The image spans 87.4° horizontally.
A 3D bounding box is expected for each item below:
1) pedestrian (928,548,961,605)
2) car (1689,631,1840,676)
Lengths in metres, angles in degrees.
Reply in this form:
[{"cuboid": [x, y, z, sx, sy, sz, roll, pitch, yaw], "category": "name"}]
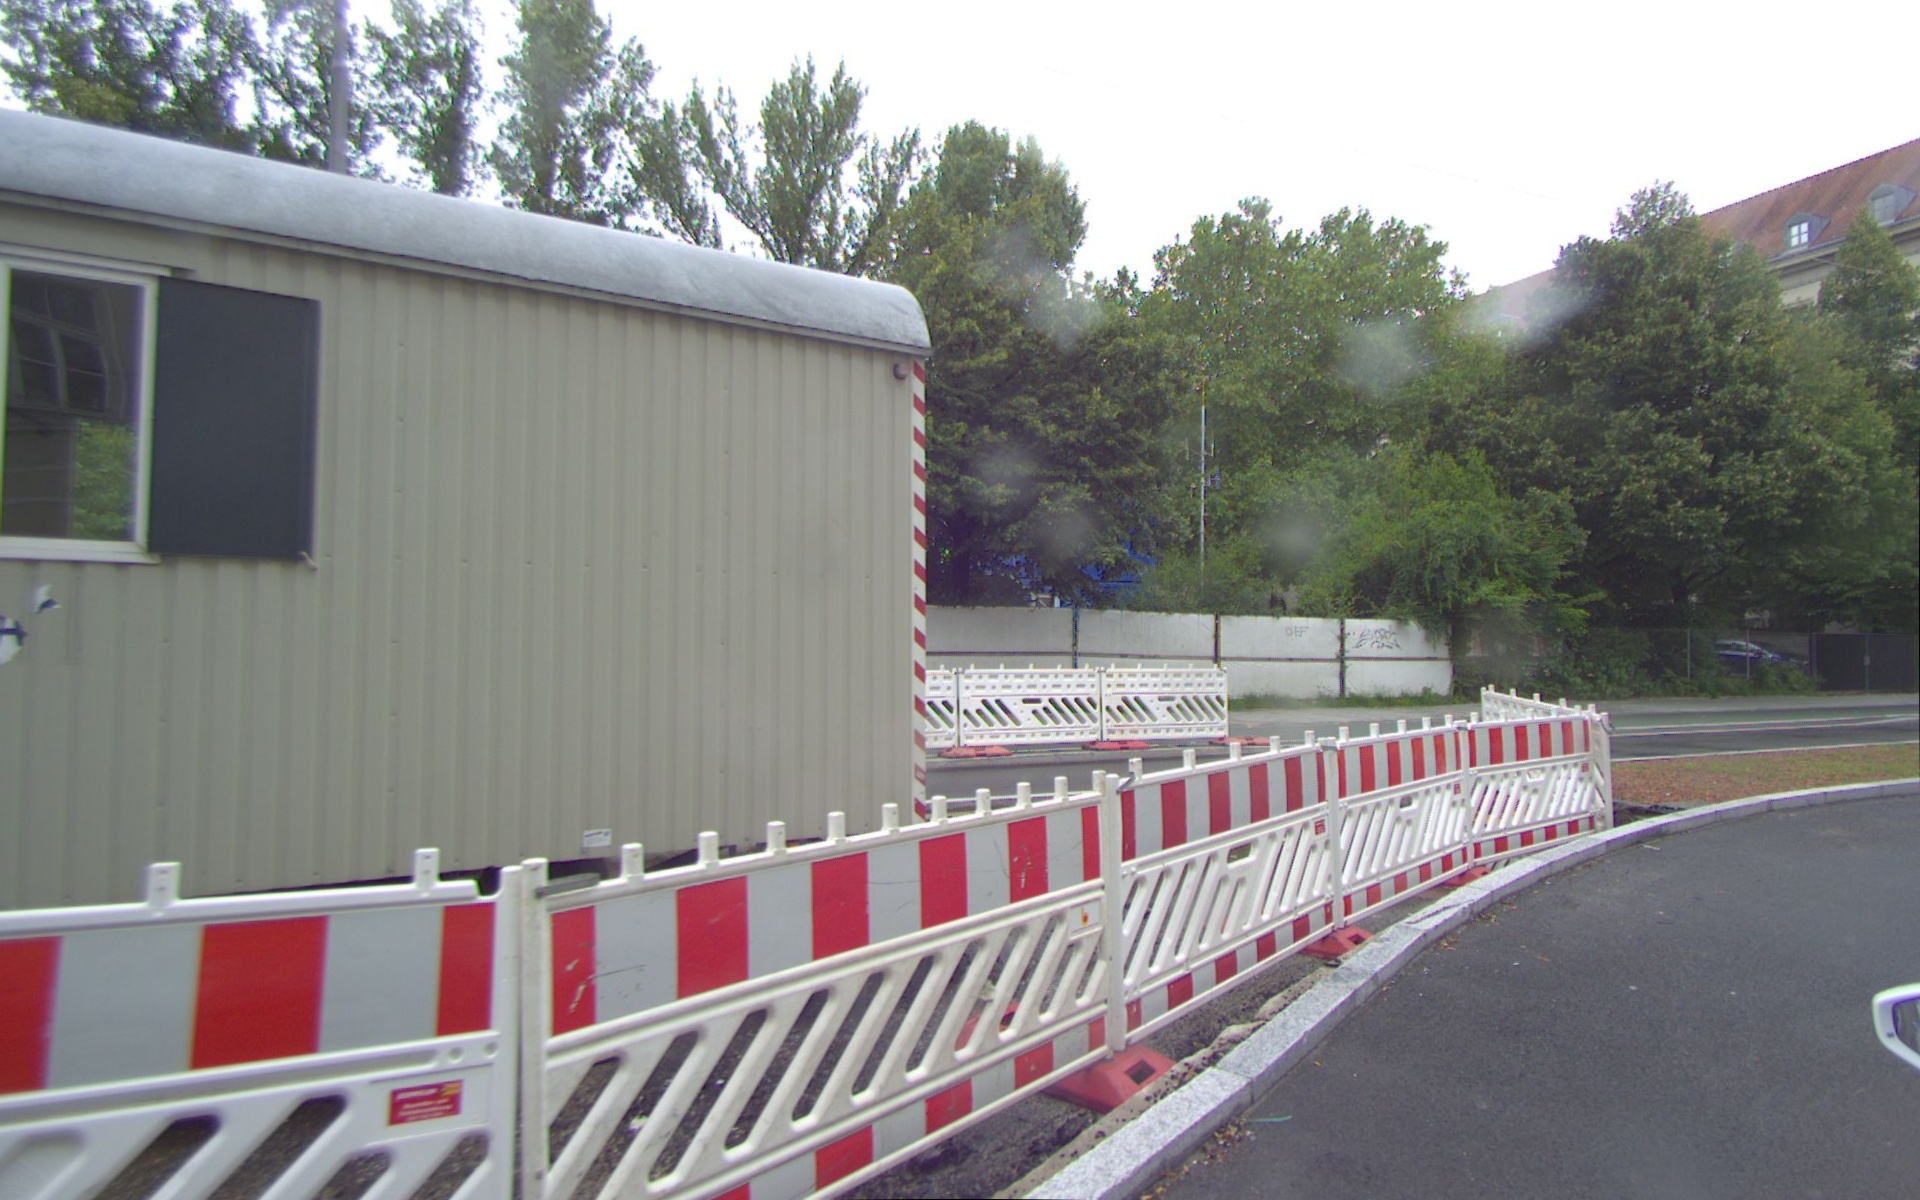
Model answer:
[{"cuboid": [-0.506, -0.745, 32.741, 0.786, 1.798, 0.828, 1, -2, -26], "category": "pedestrian"}, {"cuboid": [31.171, 2.041, 39.054, 1.779, 1.670, 4.253, 1, -2, -23], "category": "car"}]
